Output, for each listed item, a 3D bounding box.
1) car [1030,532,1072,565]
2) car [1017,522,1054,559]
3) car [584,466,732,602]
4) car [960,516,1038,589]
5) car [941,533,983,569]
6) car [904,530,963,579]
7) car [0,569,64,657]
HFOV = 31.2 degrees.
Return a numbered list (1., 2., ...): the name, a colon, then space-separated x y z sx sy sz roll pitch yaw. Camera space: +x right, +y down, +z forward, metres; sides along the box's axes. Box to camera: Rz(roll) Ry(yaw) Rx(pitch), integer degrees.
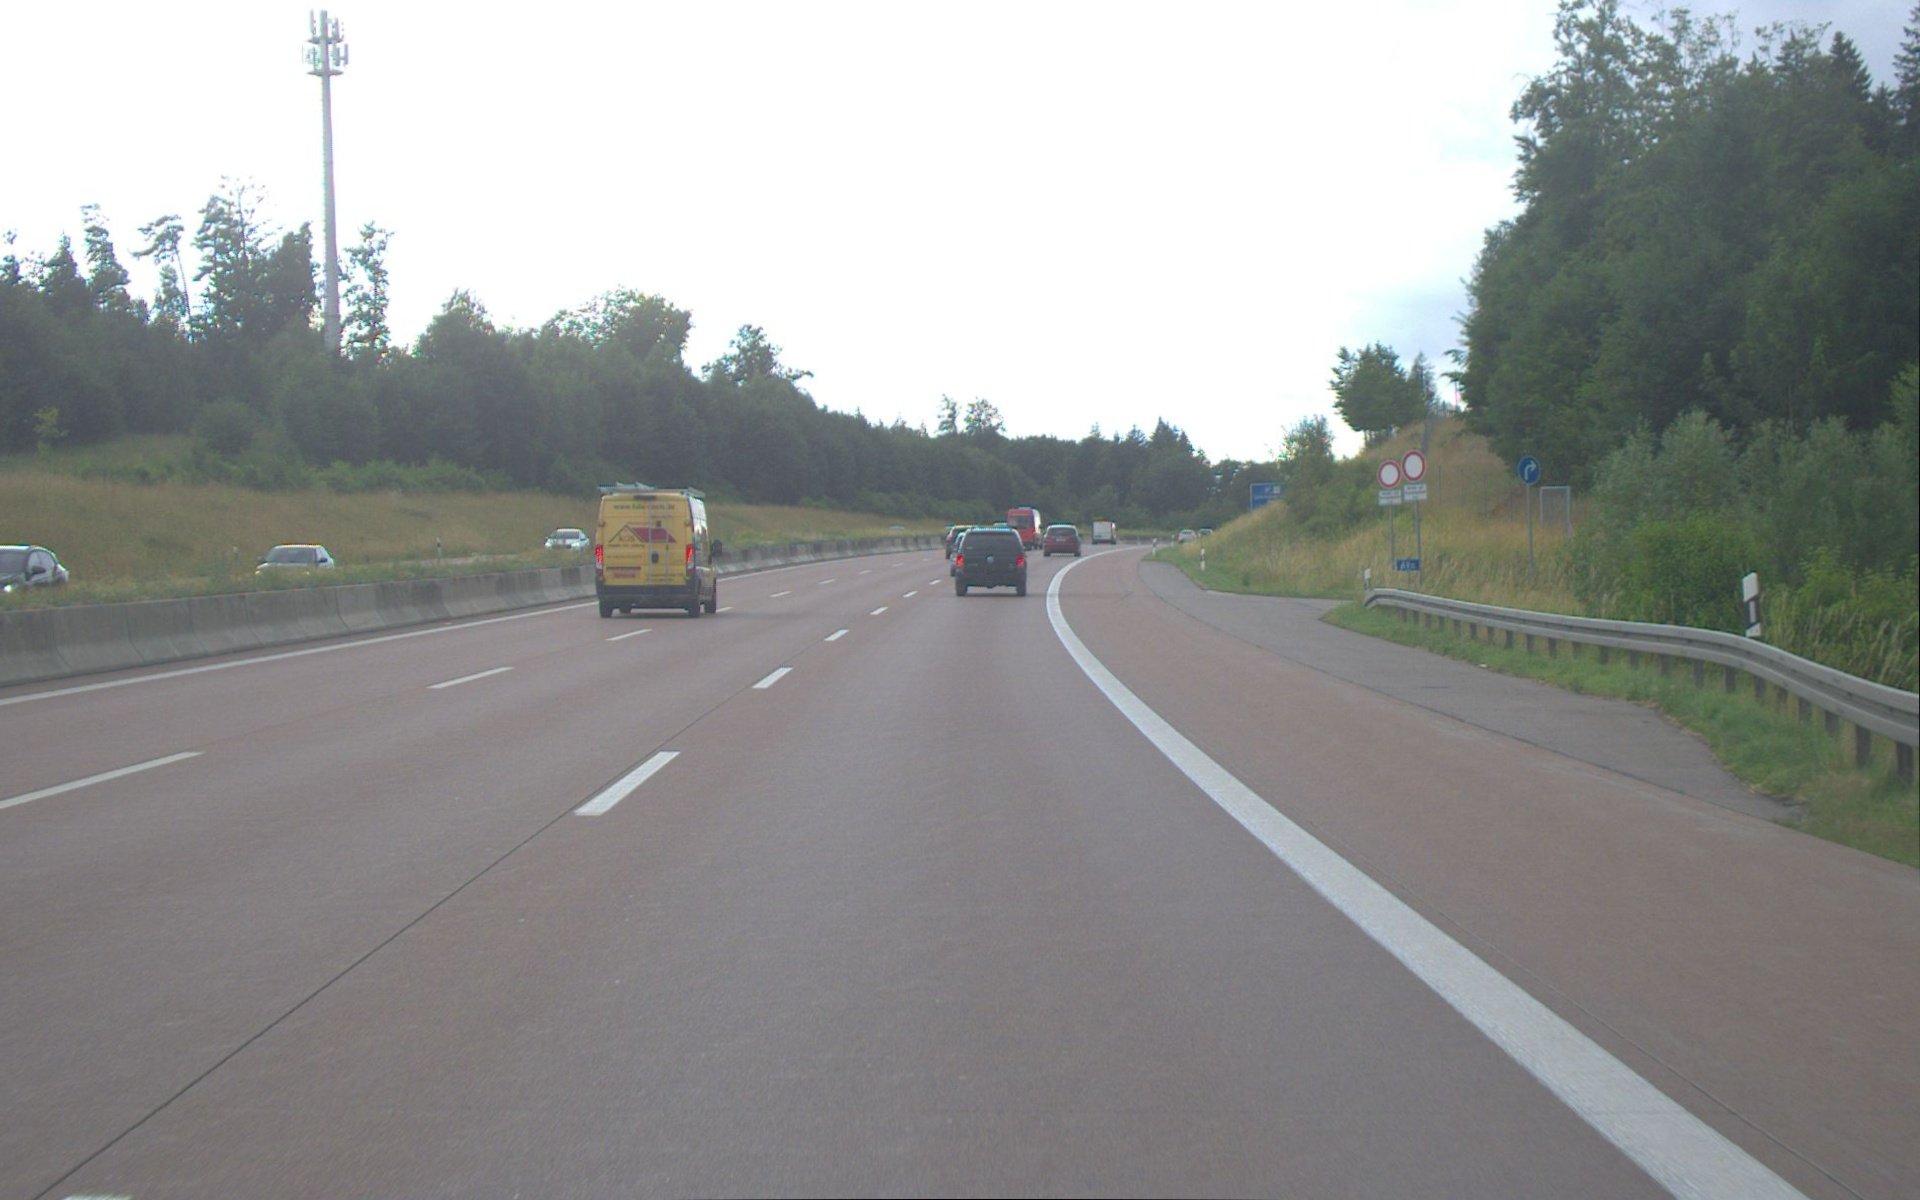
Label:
1. car: 4.800 -2.713 181.567 1.977 1.642 4.619 -1 0 -1
2. car: 4.940 -3.866 224.076 2.241 2.422 6.204 0 1 3
3. car: -6.228 -1.327 71.609 2.458 2.697 5.613 -1 0 1
4. car: 1.038 -1.257 93.269 2.044 1.890 5.577 -1 0 0
5. car: 0.081 -2.382 167.798 1.977 1.642 4.619 -1 0 -1
6. car: -0.918 -1.607 122.621 1.978 1.642 4.619 -1 0 1
7. car: -18.635 0.250 66.107 1.762 1.633 4.381 1 0 -2
